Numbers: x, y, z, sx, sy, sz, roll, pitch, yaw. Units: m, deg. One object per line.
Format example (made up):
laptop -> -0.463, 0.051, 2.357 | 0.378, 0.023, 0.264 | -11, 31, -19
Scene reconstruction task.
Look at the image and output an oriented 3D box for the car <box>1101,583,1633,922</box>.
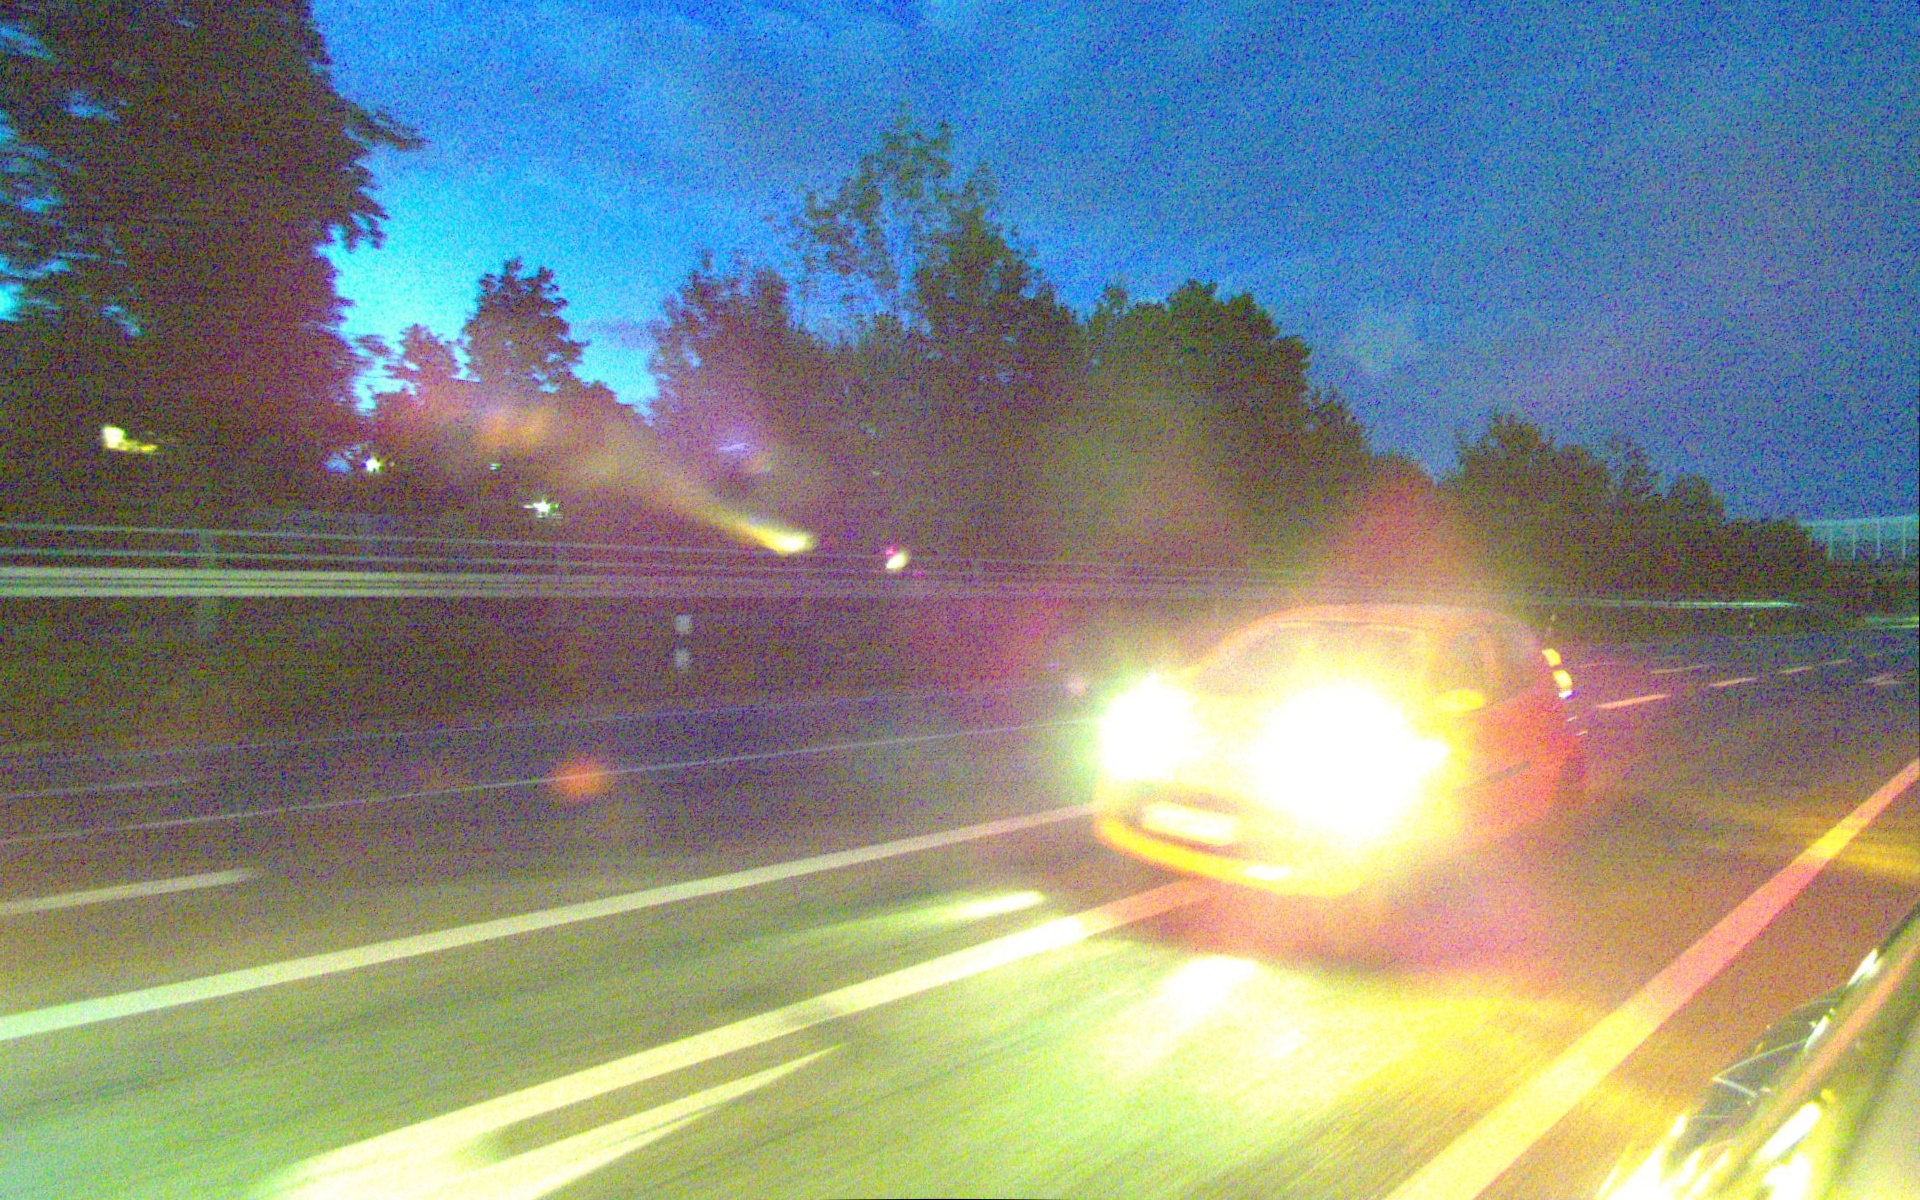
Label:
car -> 2.614, 0.659, 6.157 | 3.429, 1.469, 1.655 | 0, 0, -42
